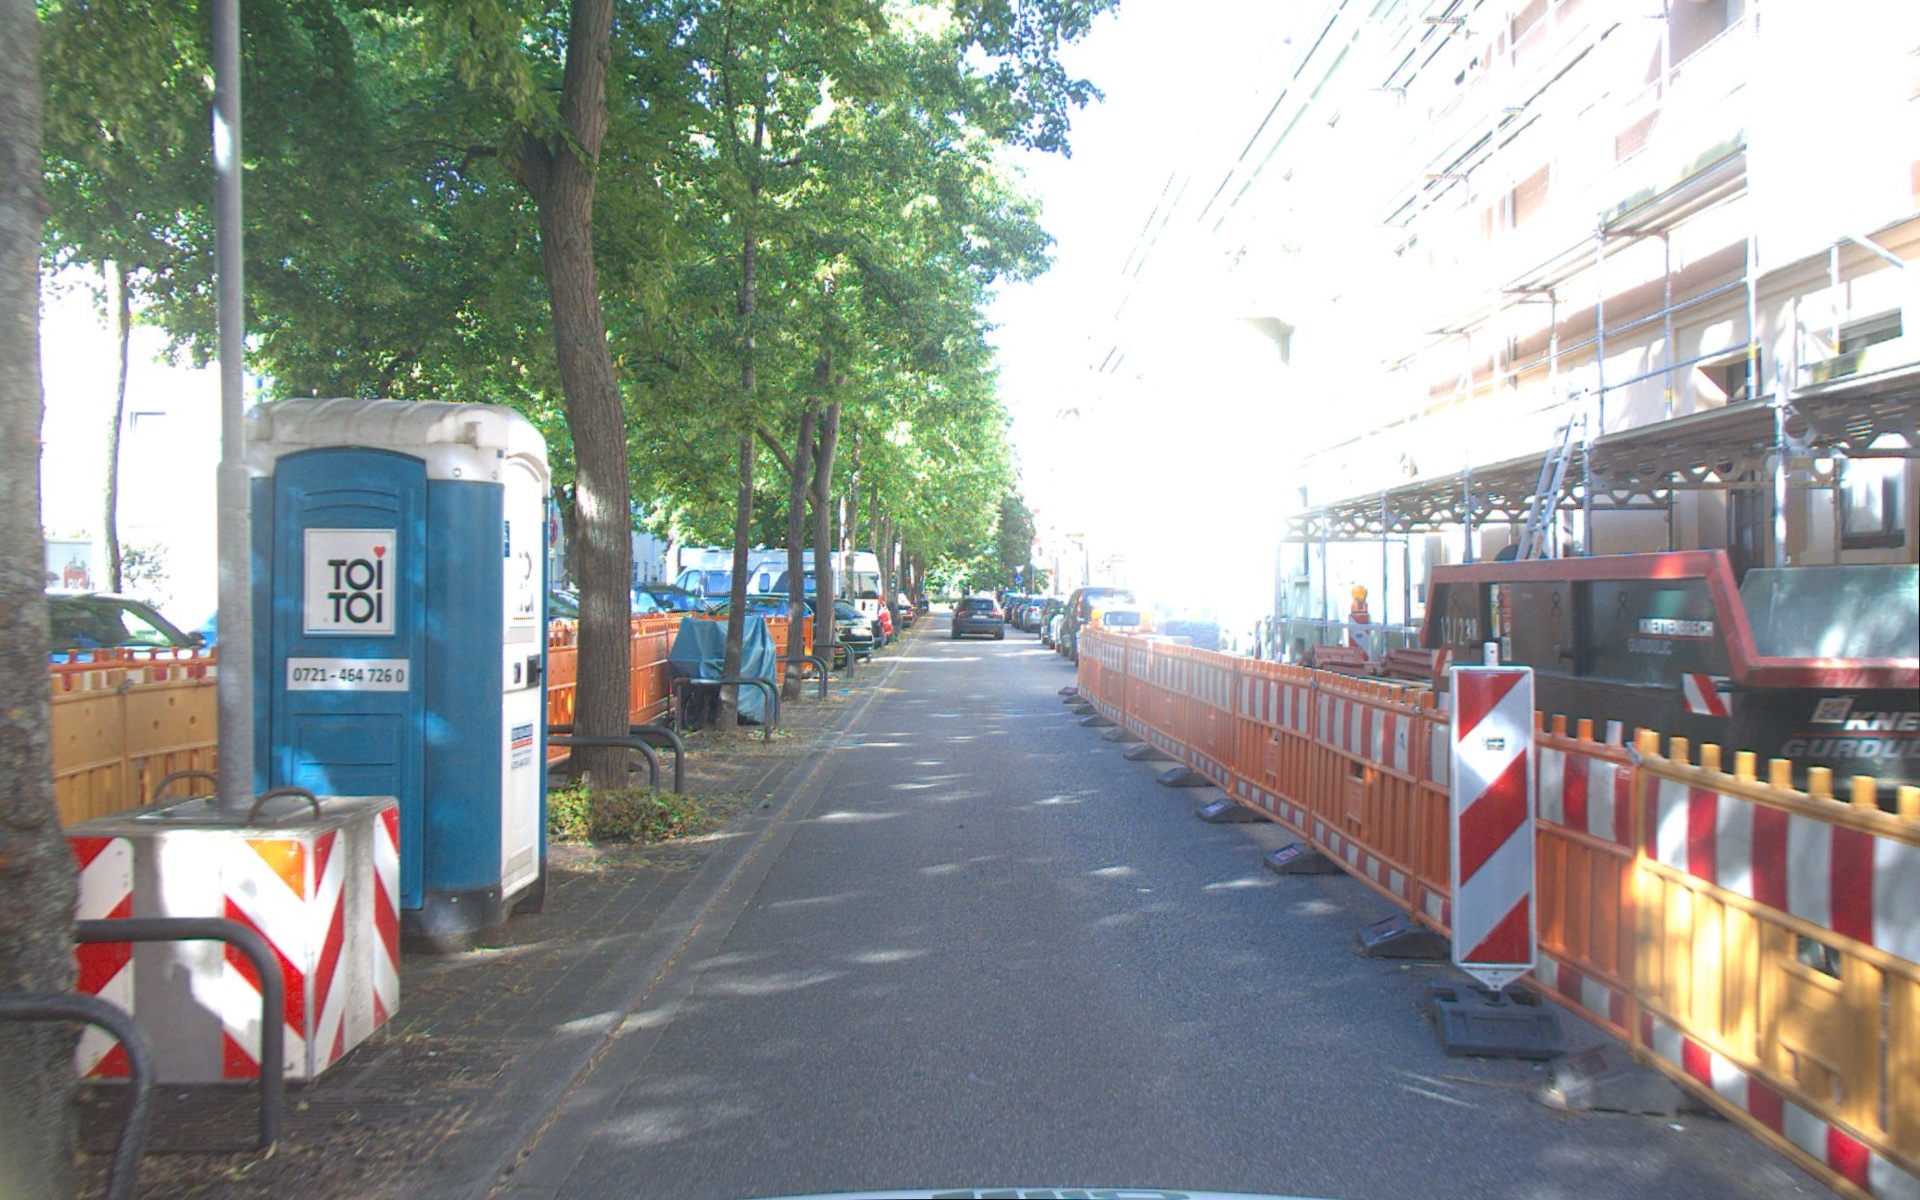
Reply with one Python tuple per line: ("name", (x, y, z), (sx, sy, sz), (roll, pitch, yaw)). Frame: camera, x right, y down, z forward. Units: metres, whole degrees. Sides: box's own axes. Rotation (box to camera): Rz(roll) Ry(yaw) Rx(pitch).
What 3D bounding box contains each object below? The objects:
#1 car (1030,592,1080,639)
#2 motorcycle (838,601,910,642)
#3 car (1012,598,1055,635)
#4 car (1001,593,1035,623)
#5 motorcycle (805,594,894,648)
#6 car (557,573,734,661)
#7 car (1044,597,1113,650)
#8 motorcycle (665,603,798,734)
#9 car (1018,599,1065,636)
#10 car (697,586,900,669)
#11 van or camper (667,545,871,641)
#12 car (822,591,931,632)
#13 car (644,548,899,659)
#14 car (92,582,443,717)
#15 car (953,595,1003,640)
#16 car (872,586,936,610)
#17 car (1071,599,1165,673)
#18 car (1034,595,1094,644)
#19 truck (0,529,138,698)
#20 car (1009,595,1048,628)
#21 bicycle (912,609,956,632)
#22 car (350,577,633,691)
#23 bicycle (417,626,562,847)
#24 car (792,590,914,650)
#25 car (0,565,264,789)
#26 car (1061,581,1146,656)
("car", (3.298, 0.528, 57.773), (1.548, 1.578, 4.042), (1, 0, 1))
("motorcycle", (-2.698, 0.670, 51.962), (2.101, 1.251, 0.882), (1, 0, 9))
("car", (3.249, 0.721, 73.753), (1.731, 1.579, 4.183), (0, 0, 0))
("car", (3.111, 0.407, 88.904), (1.768, 1.591, 4.321), (-1, 0, 1))
("motorcycle", (-2.954, 0.559, 44.104), (2.276, 1.358, 0.967), (2, 0, -10))
("car", (-7.470, 0.378, 39.113), (4.308, 1.948, 1.987), (0, 0, 43))
("car", (3.363, 0.643, 47.771), (1.574, 1.445, 4.567), (0, 0, -1))
("motorcycle", (-2.498, 0.719, 18.349), (0.617, 1.347, 2.230), (2, 0, 15))
("car", (3.365, 0.707, 68.598), (1.733, 1.456, 4.290), (0, 0, 0))
("car", (-3.357, 0.522, 34.132), (4.014, 1.552, 1.697), (1, 2, 33))
("van or camper", (-6.132, -0.243, 52.895), (6.167, 2.874, 2.404), (2, 0, 29))
("car", (-3.171, 0.429, 62.325), (3.938, 1.500, 1.621), (-1, 0, 35))
("car", (-4.733, 0.055, 41.131), (6.194, 2.603, 2.332), (1, -1, 32))
("car", (-8.235, 0.549, 19.682), (3.819, 1.486, 1.578), (0, 0, 20))
("car", (0.655, 0.577, 58.027), (1.679, 1.509, 4.145), (-1, 0, 1))
("car", (-3.809, -0.109, 111.862), (4.018, 1.492, 1.861), (2, -1, -13))
("car", (3.441, 0.749, 36.593), (1.670, 1.538, 4.283), (0, 0, 0))
("car", (3.332, 0.611, 53.459), (1.567, 1.518, 3.965), (0, 0, -2))
("truck", (-14.825, 0.205, 25.692), (1.882, 2.451, 4.265), (0, 0, 2))
("car", (3.253, 0.527, 79.108), (1.657, 1.493, 4.004), (2, 0, 0))
("bicycle", (-1.106, 0.881, 71.237), (1.858, 0.935, 0.379), (2, 0, 19))
("car", (-7.257, 0.509, 25.616), (4.036, 1.654, 1.698), (-1, 0, 23))
("bicycle", (-2.713, 0.747, 9.660), (0.274, 1.176, 1.552), (1, -1, 4))
("car", (-3.150, 0.564, 48.283), (1.648, 1.646, 3.824), (-1, 0, -40))
("car", (-7.496, 0.543, 13.238), (3.916, 1.545, 1.666), (-1, 0, 33))
("car", (3.602, 0.450, 42.171), (1.735, 1.825, 3.989), (0, 0, -1))
